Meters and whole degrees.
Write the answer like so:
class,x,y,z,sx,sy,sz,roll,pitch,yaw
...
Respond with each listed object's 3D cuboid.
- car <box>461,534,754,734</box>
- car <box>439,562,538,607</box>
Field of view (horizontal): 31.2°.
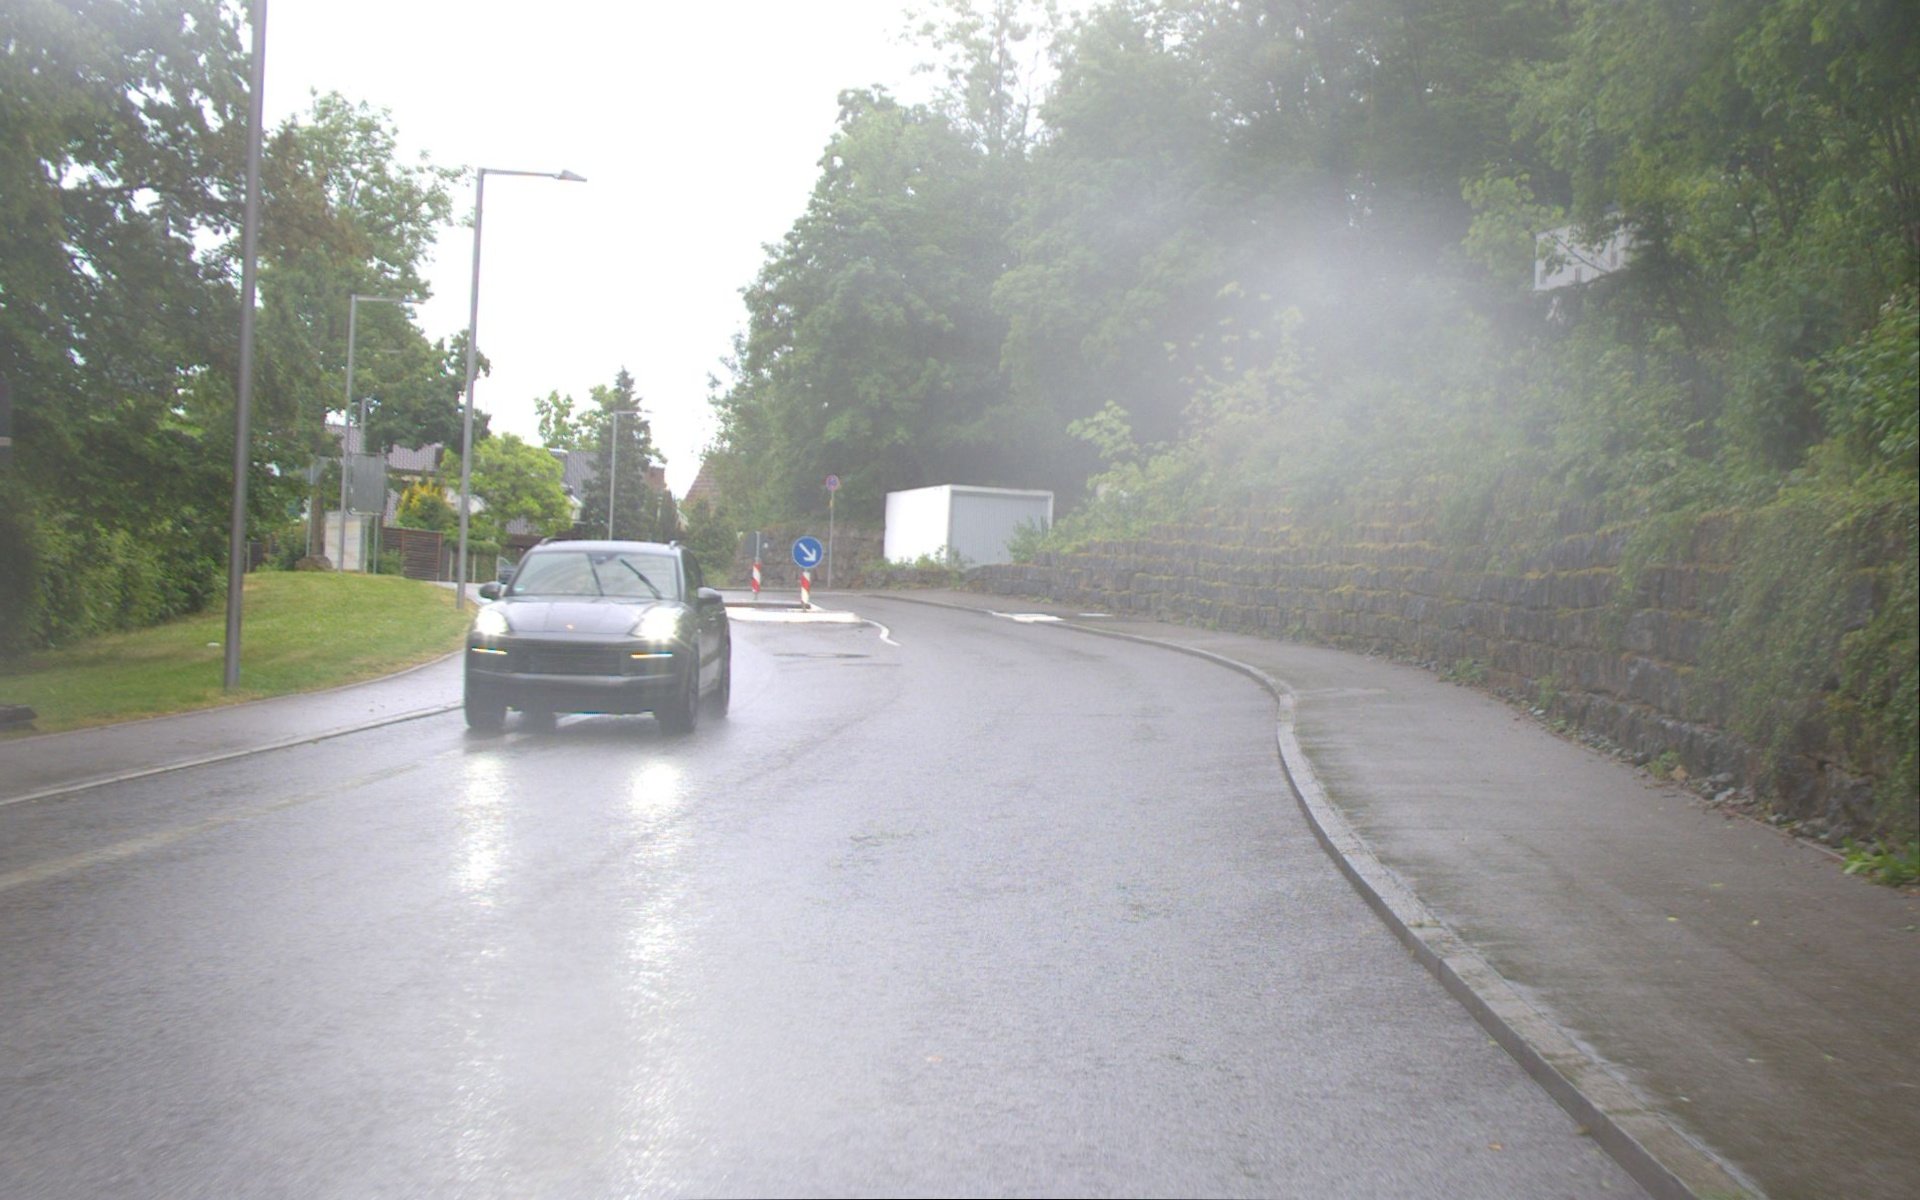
class,x,y,z,sx,sy,sz,roll,pitch,yaw
car,-3.101,0.268,31.171,1.918,1.642,4.546,1,0,3
car,-20.456,-0.672,149.107,3.997,1.626,2.009,4,-1,42
